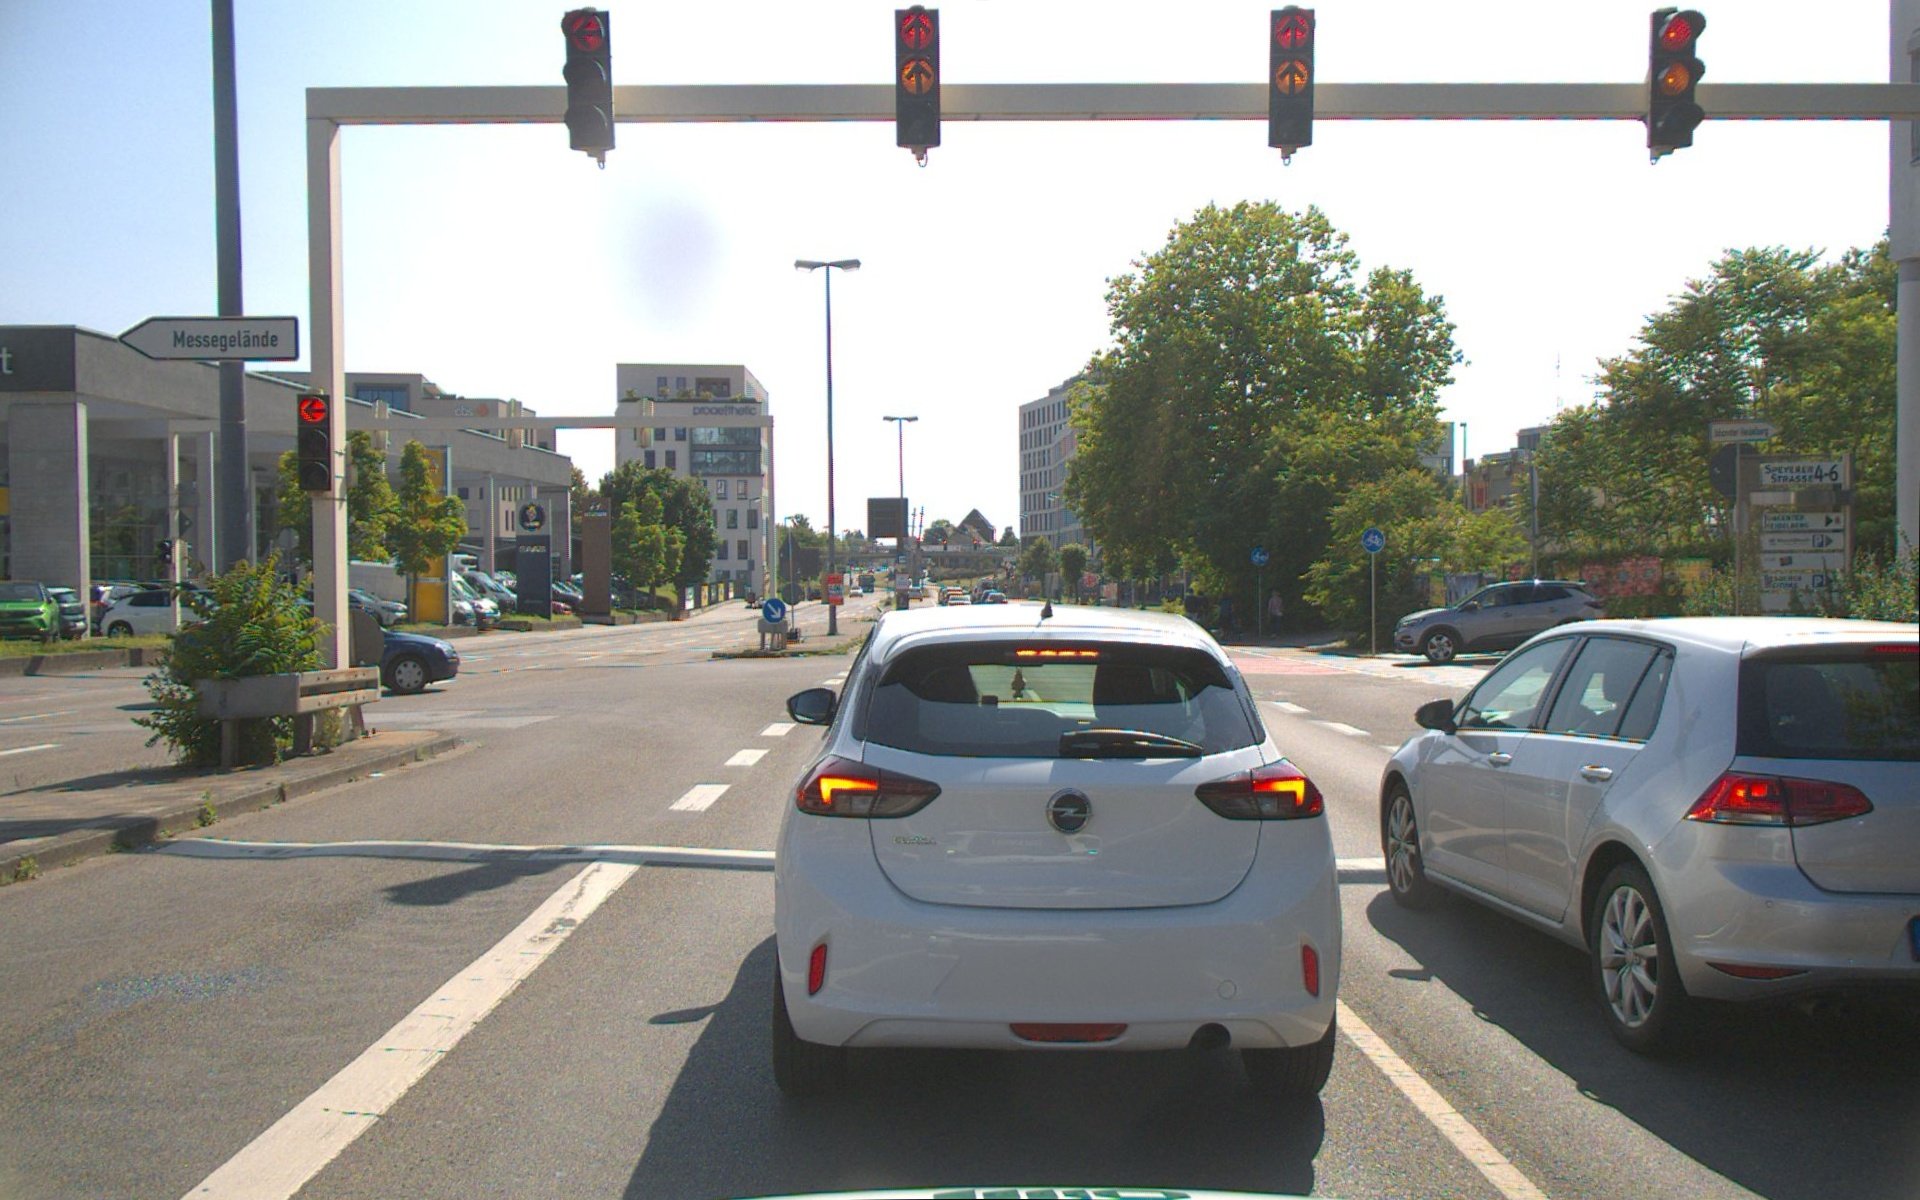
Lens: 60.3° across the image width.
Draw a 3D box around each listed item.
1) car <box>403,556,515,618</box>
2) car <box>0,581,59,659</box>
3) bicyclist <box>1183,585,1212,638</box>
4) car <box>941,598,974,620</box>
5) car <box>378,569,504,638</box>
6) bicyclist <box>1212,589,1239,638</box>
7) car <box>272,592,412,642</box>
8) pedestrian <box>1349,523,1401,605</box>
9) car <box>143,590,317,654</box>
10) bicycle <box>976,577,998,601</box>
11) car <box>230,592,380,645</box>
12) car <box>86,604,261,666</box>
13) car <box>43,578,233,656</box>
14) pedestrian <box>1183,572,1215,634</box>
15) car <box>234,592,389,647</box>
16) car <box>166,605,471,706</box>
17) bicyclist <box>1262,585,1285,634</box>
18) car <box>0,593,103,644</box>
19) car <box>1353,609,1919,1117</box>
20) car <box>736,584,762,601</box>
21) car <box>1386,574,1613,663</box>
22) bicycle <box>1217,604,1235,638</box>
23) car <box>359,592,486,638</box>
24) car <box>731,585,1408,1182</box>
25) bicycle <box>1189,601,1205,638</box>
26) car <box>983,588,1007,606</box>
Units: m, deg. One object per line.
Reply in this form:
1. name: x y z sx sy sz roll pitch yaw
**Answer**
1. car: -21.985 -0.576 72.706 4.265 2.646 2.001 -1 0 4
2. car: -22.560 0.497 38.943 1.887 1.764 3.250 -1 -1 -37
3. bicyclist: 8.234 0.402 57.397 0.861 1.803 0.863 0 0 -1
4. car: -0.174 0.584 105.862 1.953 1.355 3.999 1 -1 -2
5. car: -21.126 0.145 67.404 4.401 2.731 2.130 -1 0 8
6. bicyclist: 9.061 0.452 56.466 0.675 1.672 0.775 0 0 -9
7. car: -22.061 0.588 59.169 4.270 1.726 1.999 -1 0 -4
8. pedestrian: 10.460 -0.900 41.707 1.006 2.049 1.038 0 0 -1
9. car: -21.388 0.619 48.619 4.211 1.796 1.999 -1 0 -4
10. bicycle: 2.513 -1.051 155.271 1.953 2.195 3.999 -1 0 -1
11. car: -22.142 0.613 56.042 4.270 1.726 1.999 -1 0 -4
12. car: -21.731 0.936 45.837 3.912 1.627 1.997 -1 0 -8
13. car: -20.729 0.406 41.837 3.793 1.870 1.999 -1 0 -4
14. pedestrian: 8.914 0.099 61.634 1.006 2.278 1.038 0 0 -1
15. car: -21.017 0.620 53.762 4.270 1.726 1.999 0 0 -3
16. car: -10.122 0.828 26.126 4.307 1.472 1.982 0 0 -28
17. bicyclist: 10.864 0.320 57.269 0.639 1.666 0.659 1 -1 -1
18. car: -26.264 0.540 45.522 4.276 1.290 1.996 -2 -1 -9
19. car: 3.102 0.776 6.867 1.771 1.454 3.997 -1 0 -4
20. car: -18.068 -0.611 141.846 1.769 1.410 3.999 1 -1 -1
21. car: 11.372 0.390 35.190 4.325 1.578 2.002 -4 -1 12
22. bicycle: 9.073 0.711 56.461 0.366 1.167 1.034 1 -1 -3
23. car: -21.068 0.562 64.958 4.265 1.726 2.001 -1 0 4
24. car: 0.253 0.721 6.283 1.743 1.520 3.999 -1 0 -1
25. bicycle: 8.212 0.670 57.410 0.365 1.238 1.153 1 0 -1
26. car: 2.861 -0.211 135.291 1.769 1.410 3.999 1 -1 -1
